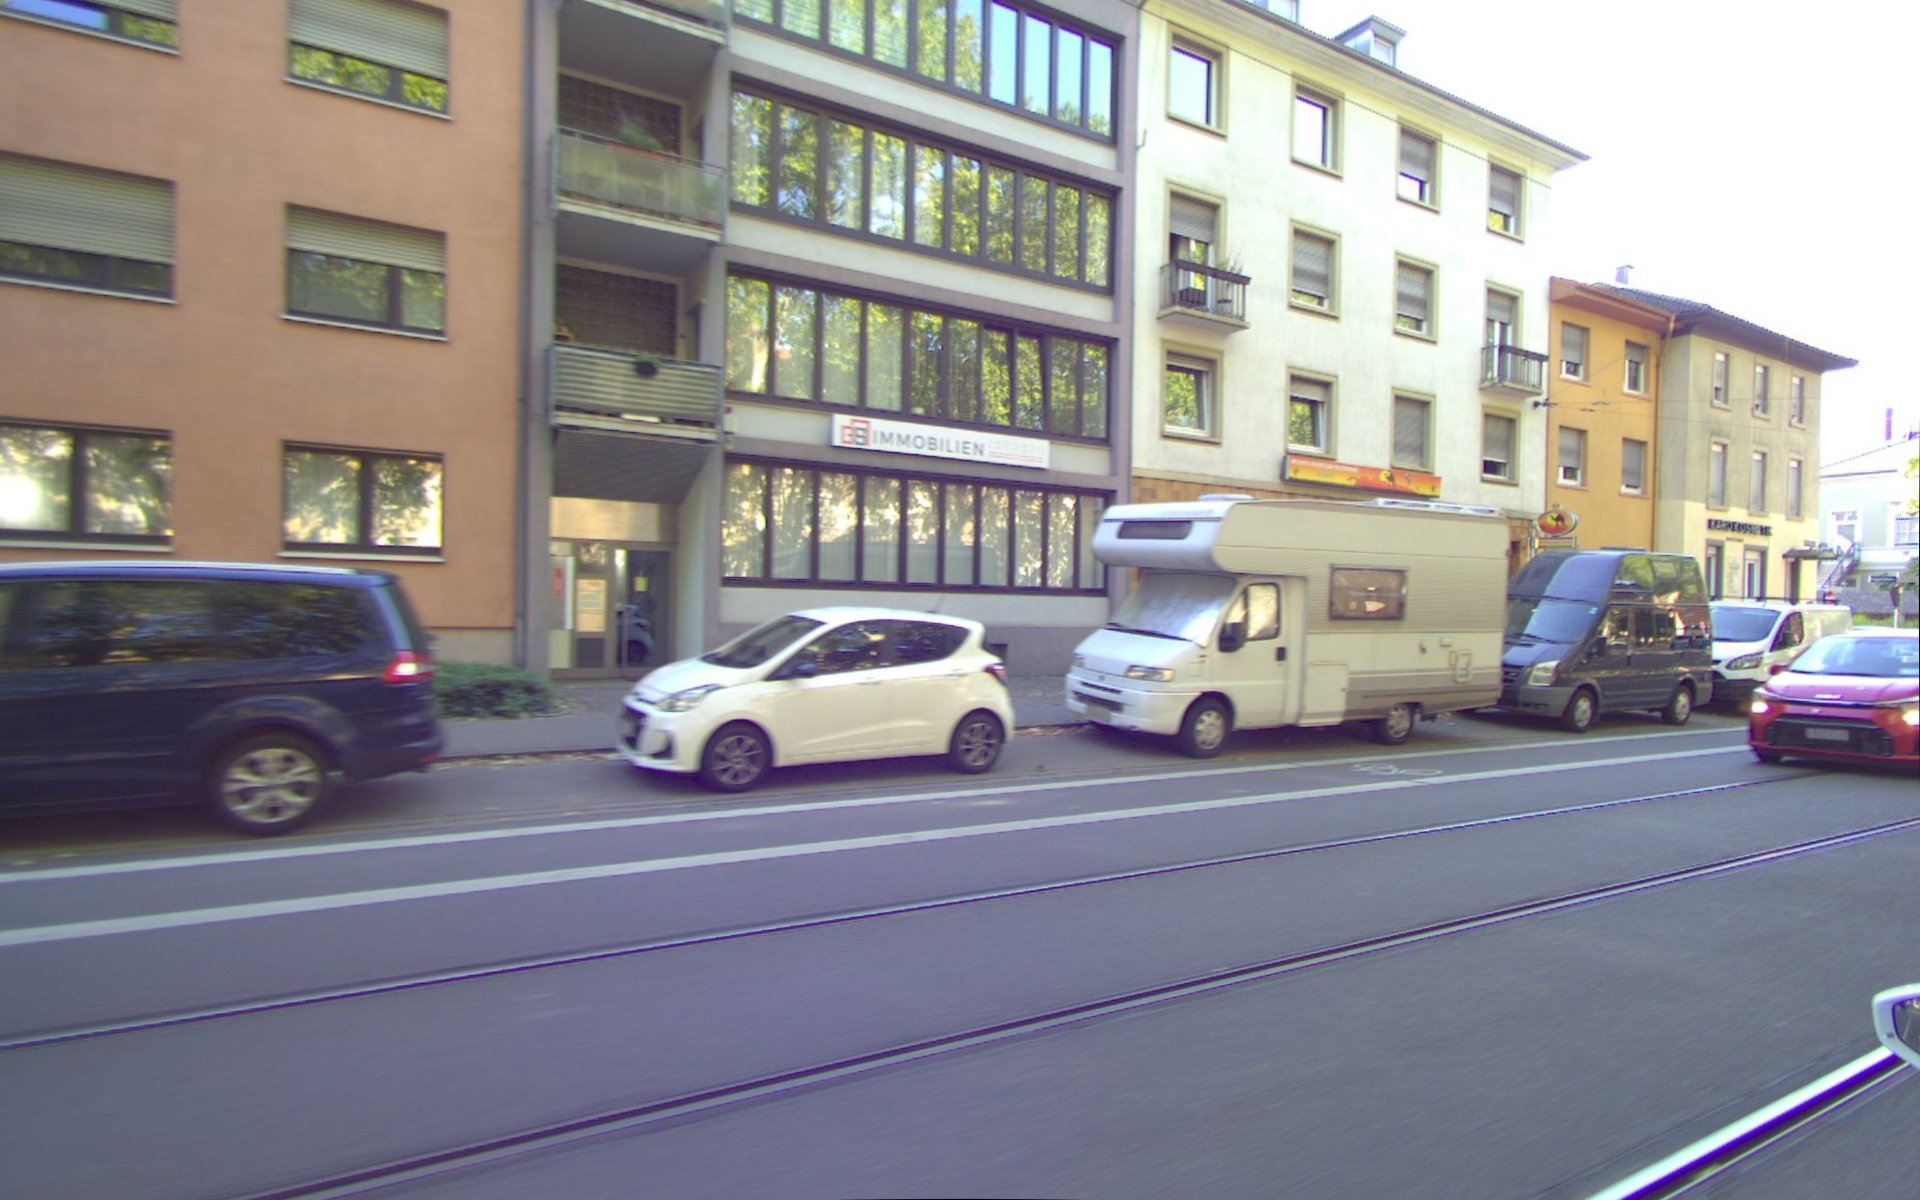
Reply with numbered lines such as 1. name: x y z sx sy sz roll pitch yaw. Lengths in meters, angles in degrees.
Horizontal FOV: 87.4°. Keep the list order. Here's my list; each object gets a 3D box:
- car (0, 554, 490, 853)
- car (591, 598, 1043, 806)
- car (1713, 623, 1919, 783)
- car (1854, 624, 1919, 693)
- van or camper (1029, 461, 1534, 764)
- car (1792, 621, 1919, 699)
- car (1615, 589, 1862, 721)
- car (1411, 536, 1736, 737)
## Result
1. car: -5.938 0.569 6.577 5.013 1.709 1.942 1 1 -31
2. car: -1.291 0.822 9.420 3.818 1.508 1.701 1 3 -31
3. car: 10.280 1.026 11.209 3.905 1.499 1.655 1 -1 -31
4. car: 23.924 1.403 24.483 5.013 1.488 1.825 1 3 -32
5. van or camper: 4.210 0.136 12.780 6.320 3.082 2.327 1 3 -29
6. car: 20.118 1.292 22.232 3.003 1.547 1.565 2 1 -28
7. car: 14.771 0.928 18.977 5.190 2.120 1.941 0 3 -32
8. car: 9.860 0.498 16.055 5.247 2.768 2.076 1 3 -30
